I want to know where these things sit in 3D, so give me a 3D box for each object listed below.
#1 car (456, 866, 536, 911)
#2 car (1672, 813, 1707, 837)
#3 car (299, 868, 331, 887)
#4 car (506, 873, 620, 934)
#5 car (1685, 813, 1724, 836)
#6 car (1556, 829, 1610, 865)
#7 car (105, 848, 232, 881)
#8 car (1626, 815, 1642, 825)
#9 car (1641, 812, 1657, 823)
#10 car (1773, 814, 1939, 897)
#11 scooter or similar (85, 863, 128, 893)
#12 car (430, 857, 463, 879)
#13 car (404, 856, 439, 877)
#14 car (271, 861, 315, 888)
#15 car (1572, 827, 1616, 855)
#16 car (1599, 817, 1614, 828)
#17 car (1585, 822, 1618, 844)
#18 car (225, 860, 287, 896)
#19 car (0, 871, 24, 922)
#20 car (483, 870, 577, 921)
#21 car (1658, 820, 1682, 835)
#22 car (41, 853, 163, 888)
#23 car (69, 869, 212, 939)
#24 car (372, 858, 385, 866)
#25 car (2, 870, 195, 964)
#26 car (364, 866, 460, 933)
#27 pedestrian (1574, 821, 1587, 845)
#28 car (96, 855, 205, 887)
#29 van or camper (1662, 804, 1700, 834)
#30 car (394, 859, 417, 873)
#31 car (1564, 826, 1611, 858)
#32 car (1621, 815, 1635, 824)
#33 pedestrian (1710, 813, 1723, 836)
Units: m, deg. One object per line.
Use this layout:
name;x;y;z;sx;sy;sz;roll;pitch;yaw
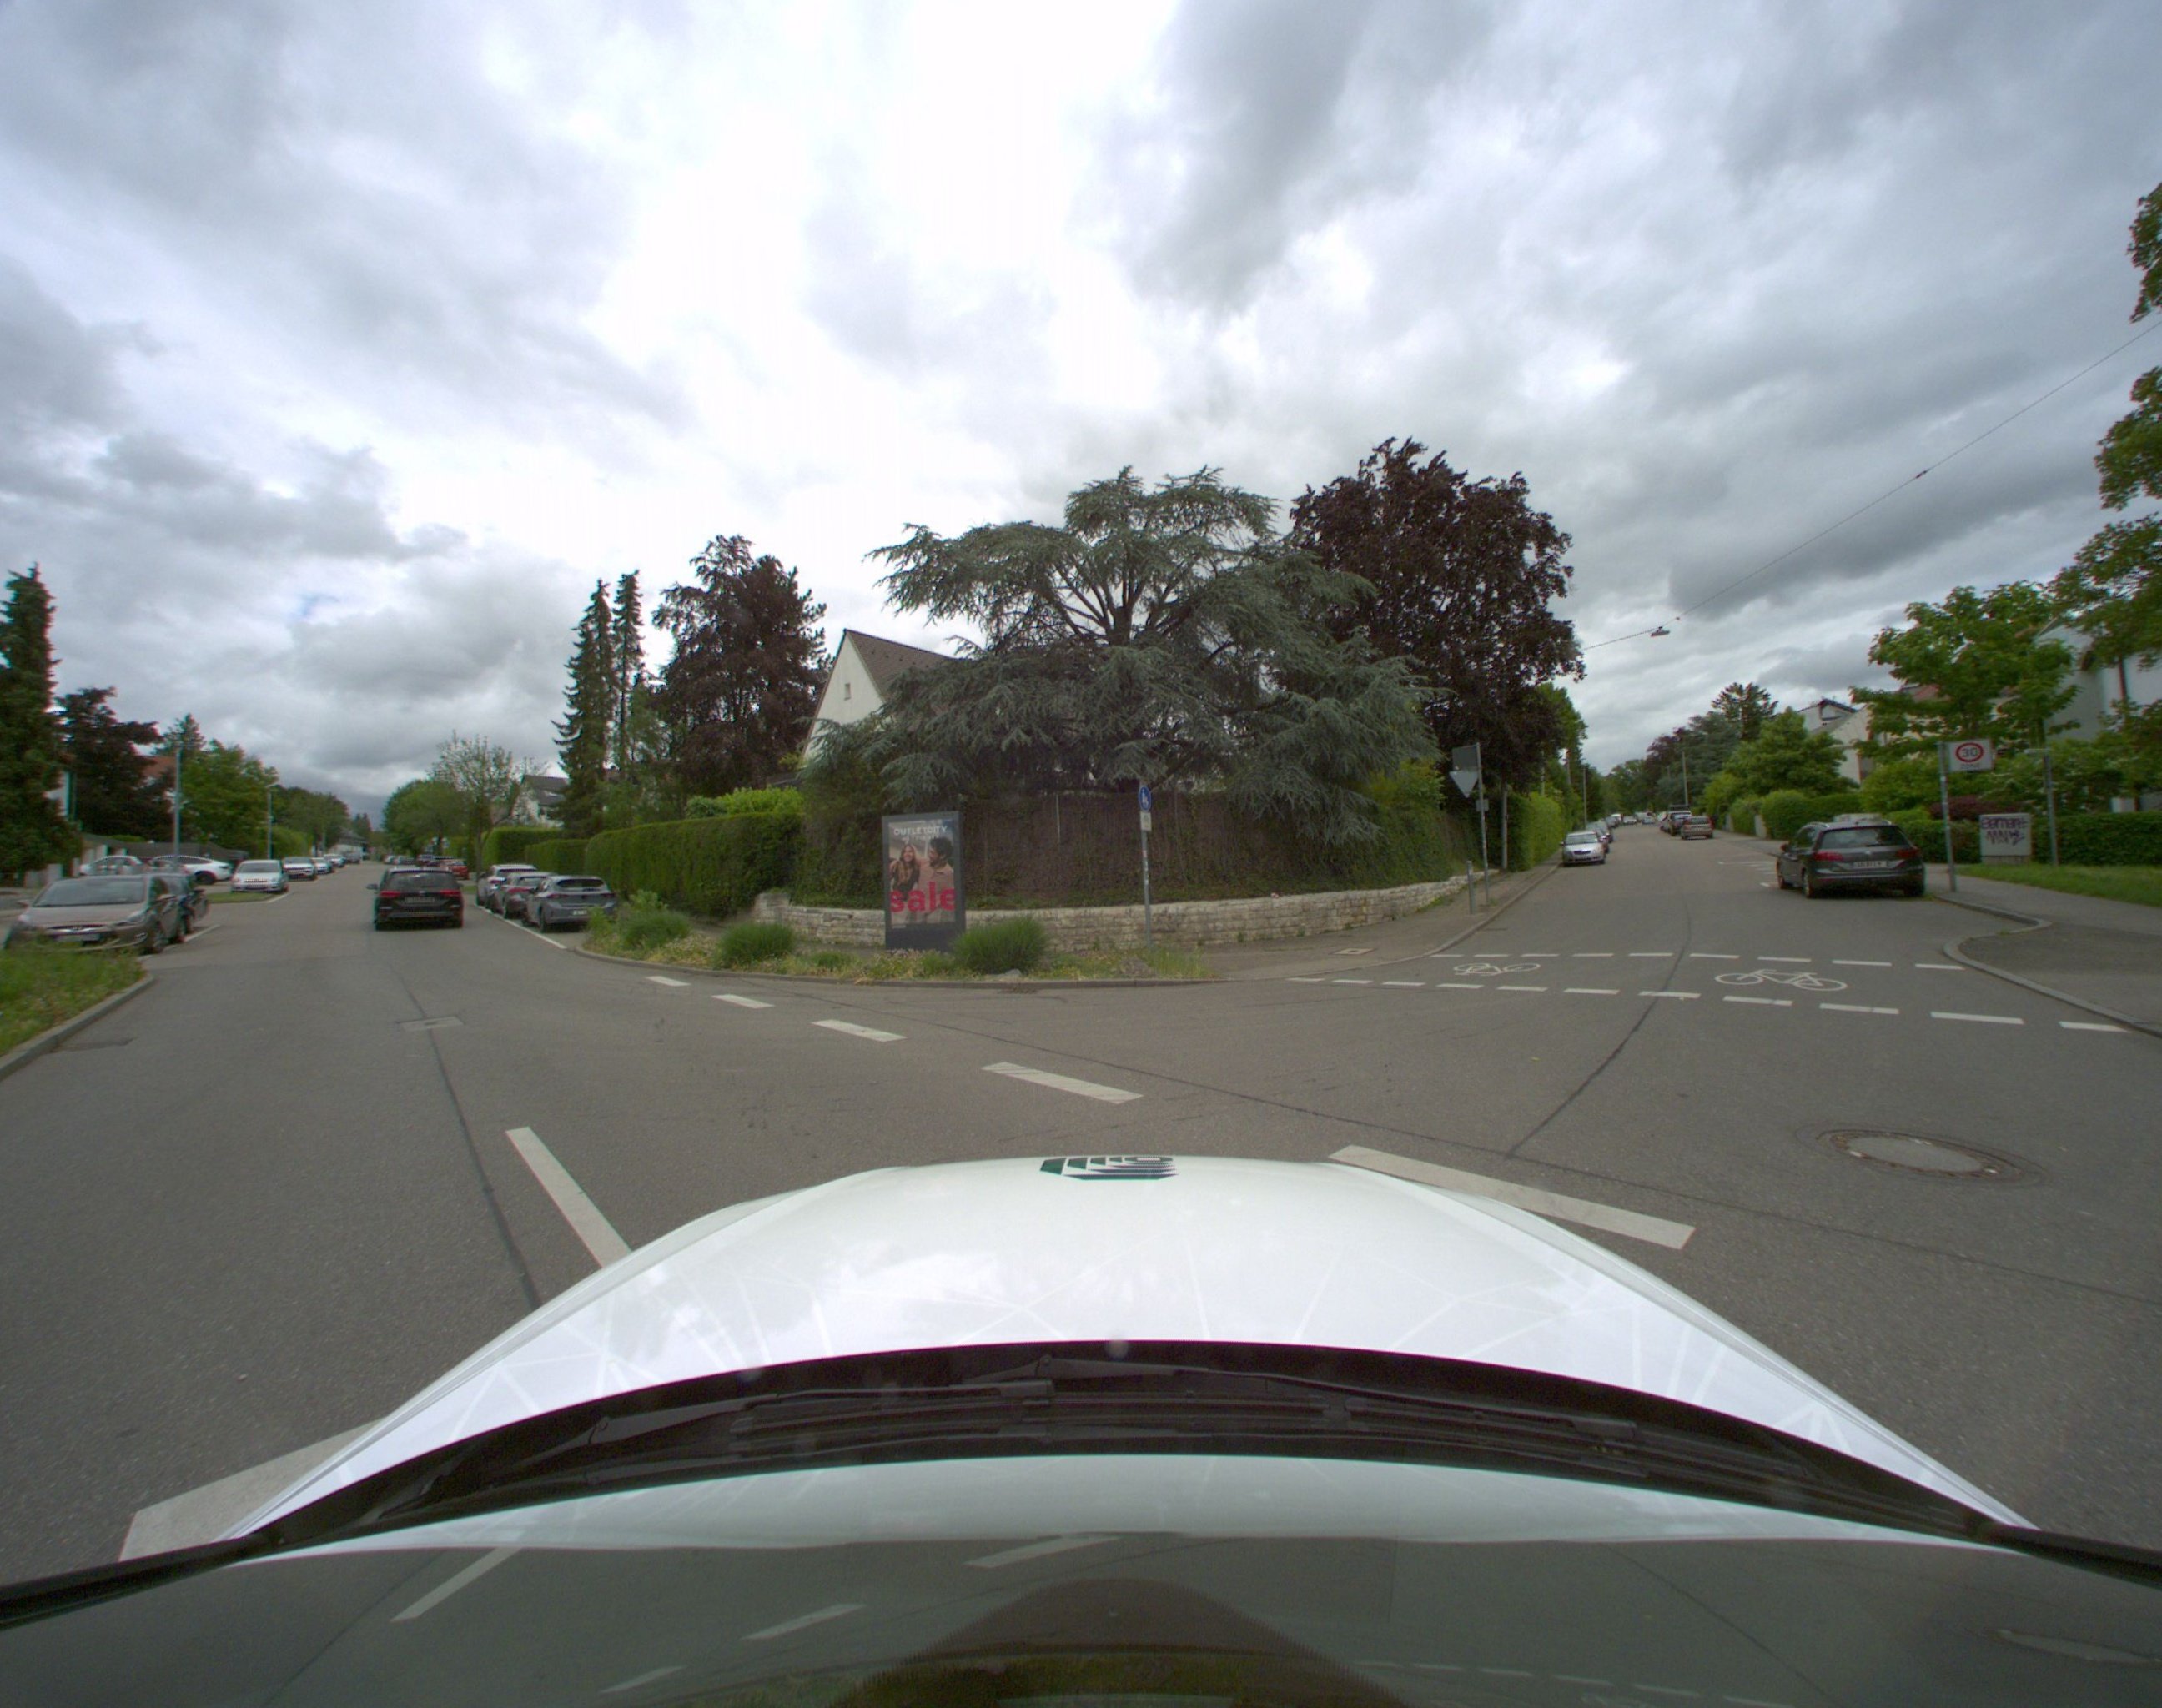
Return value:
car;-21.918;1.234;30.461;1.871;1.582;4.121;1;-1;-43
car;46.404;-2.178;62.199;1.730;1.640;3.752;-4;-1;32
car;-65.086;1.955;69.235;1.853;1.422;4.355;-2;1;-42
car;-14.006;1.254;21.919;1.871;1.464;3.951;1;-1;-43
car;41.018;-1.939;53.643;1.593;1.413;3.495;-1;1;31
car;23.047;-0.350;37.438;1.927;1.442;4.026;-4;0;31
car;-50.761;0.609;45.449;4.449;1.629;1.888;4;-3;-42
car;84.818;-5.180;125.023;1.640;1.335;3.804;-1;1;28
car;100.689;-6.419;144.443;1.921;1.796;4.221;-1;1;29
car;16.583;0.006;17.668;1.799;1.536;4.026;-4;-1;33
scooter or similar;-39.094;0.952;32.682;0.476;1.148;1.442;2;-1;-25
car;-45.728;0.958;58.669;1.675;1.508;3.713;0;0;-41
car;-52.817;1.001;65.220;2.010;1.618;4.460;3;-2;-41
car;-53.313;1.330;55.171;1.853;1.666;4.356;-2;1;-40
car;28.959;-0.757;46.053;1.927;1.442;4.026;-4;0;31
car;71.840;-4.281;111.302;1.698;1.462;3.680;-1;1;33
car;38.913;-1.578;60.963;1.927;1.442;4.026;-4;0;31
car;-39.180;1.091;38.741;1.776;1.563;3.809;-1;1;-41
car;-31.560;1.187;21.483;1.880;1.367;4.326;0;0;43
car;-17.861;1.278;26.336;1.871;1.464;4.121;1;-1;-43
car;58.447;-2.618;80.825;1.593;1.413;3.495;-1;1;31
car;-47.295;0.849;39.454;3.457;1.578;1.637;3;-3;-40
car;-23.786;1.189;20.745;1.894;1.536;3.465;0;0;-41
car;-140.633;1.617;163.089;3.424;1.668;1.658;0;0;45
car;-19.714;1.160;16.542;1.894;1.585;3.826;0;0;-41
car;-18.237;1.157;22.204;1.863;1.611;4.260;1;-1;-40
pedestrian;41.994;-1.777;68.483;0.845;2.013;0.878;-1;1;28
car;-48.437;0.915;42.483;3.457;1.512;1.672;3;-3;-40
van or camper;53.112;-3.072;72.155;2.092;2.405;5.279;-4;-1;31
car;-80.689;1.466;97.233;2.010;1.618;4.460;3;-2;-41
car;25.900;-0.635;41.702;1.927;1.442;4.026;-4;0;31
car;105.504;-6.665;157.101;1.798;1.574;4.025;-4;-1;29
pedestrian;51.953;-2.413;66.620;0.749;1.871;0.624;-1;0;33
